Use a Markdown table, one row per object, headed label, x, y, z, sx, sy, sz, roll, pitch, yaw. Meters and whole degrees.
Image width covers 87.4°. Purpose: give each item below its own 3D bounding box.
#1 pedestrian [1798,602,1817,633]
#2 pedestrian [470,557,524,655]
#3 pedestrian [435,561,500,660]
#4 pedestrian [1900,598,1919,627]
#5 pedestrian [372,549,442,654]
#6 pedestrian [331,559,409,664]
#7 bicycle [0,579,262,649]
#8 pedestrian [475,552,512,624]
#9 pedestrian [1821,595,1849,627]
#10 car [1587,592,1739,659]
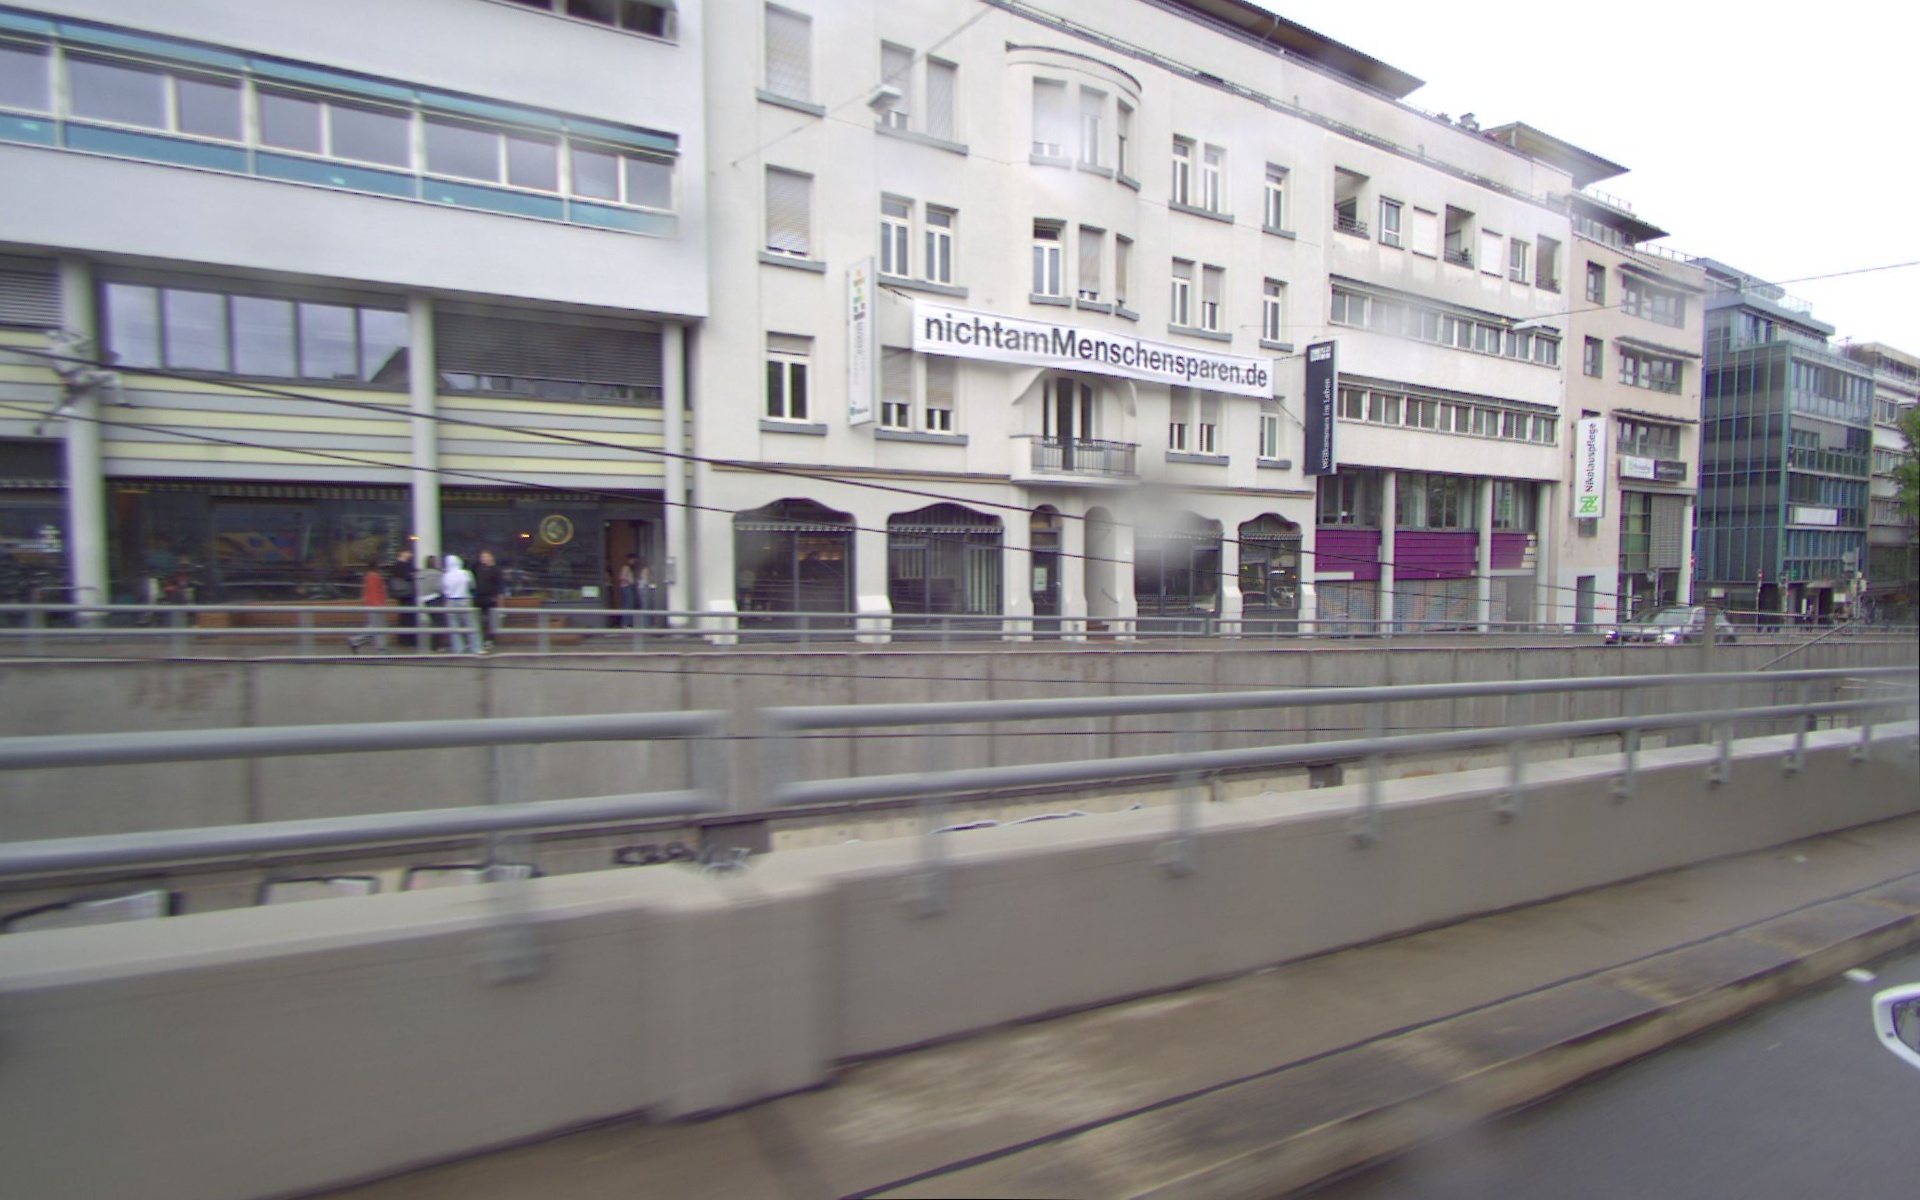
| label | x | y | z | sx | sy | sz | roll | pitch | yaw |
| --- | --- | --- | --- | --- | --- | --- | --- | --- | --- |
| pedestrian | 48.270 | 0.988 | 57.191 | 0.483 | 1.694 | 0.660 | 1 | 1 | -33 |
| pedestrian | -8.504 | 0.102 | 18.458 | 0.660 | 1.745 | 0.609 | 2 | 2 | 18 |
| pedestrian | -8.515 | 0.169 | 17.390 | 0.660 | 1.665 | 0.795 | 2 | 2 | 14 |
| pedestrian | 64.636 | 0.822 | 68.225 | 0.858 | 1.893 | 0.871 | 0 | 3 | -34 |
| pedestrian | -9.845 | 0.008 | 17.880 | 0.664 | 1.809 | 0.937 | 3 | 2 | 43 |
| pedestrian | -9.546 | 0.175 | 16.254 | 0.664 | 1.638 | 0.937 | 3 | 2 | 43 |
| bicycle | -14.428 | 0.232 | 16.676 | 4.466 | 1.057 | 1.686 | 1 | 1 | -28 |
| pedestrian | -9.551 | -0.254 | 20.575 | 0.665 | 1.438 | 0.605 | 0 | 2 | -28 |
| pedestrian | 54.101 | 0.672 | 62.097 | 0.943 | 1.893 | 0.864 | 1 | 2 | -14 |
| car | 19.884 | 0.663 | 28.374 | 4.524 | 1.736 | 1.827 | 0 | 1 | -31 |
